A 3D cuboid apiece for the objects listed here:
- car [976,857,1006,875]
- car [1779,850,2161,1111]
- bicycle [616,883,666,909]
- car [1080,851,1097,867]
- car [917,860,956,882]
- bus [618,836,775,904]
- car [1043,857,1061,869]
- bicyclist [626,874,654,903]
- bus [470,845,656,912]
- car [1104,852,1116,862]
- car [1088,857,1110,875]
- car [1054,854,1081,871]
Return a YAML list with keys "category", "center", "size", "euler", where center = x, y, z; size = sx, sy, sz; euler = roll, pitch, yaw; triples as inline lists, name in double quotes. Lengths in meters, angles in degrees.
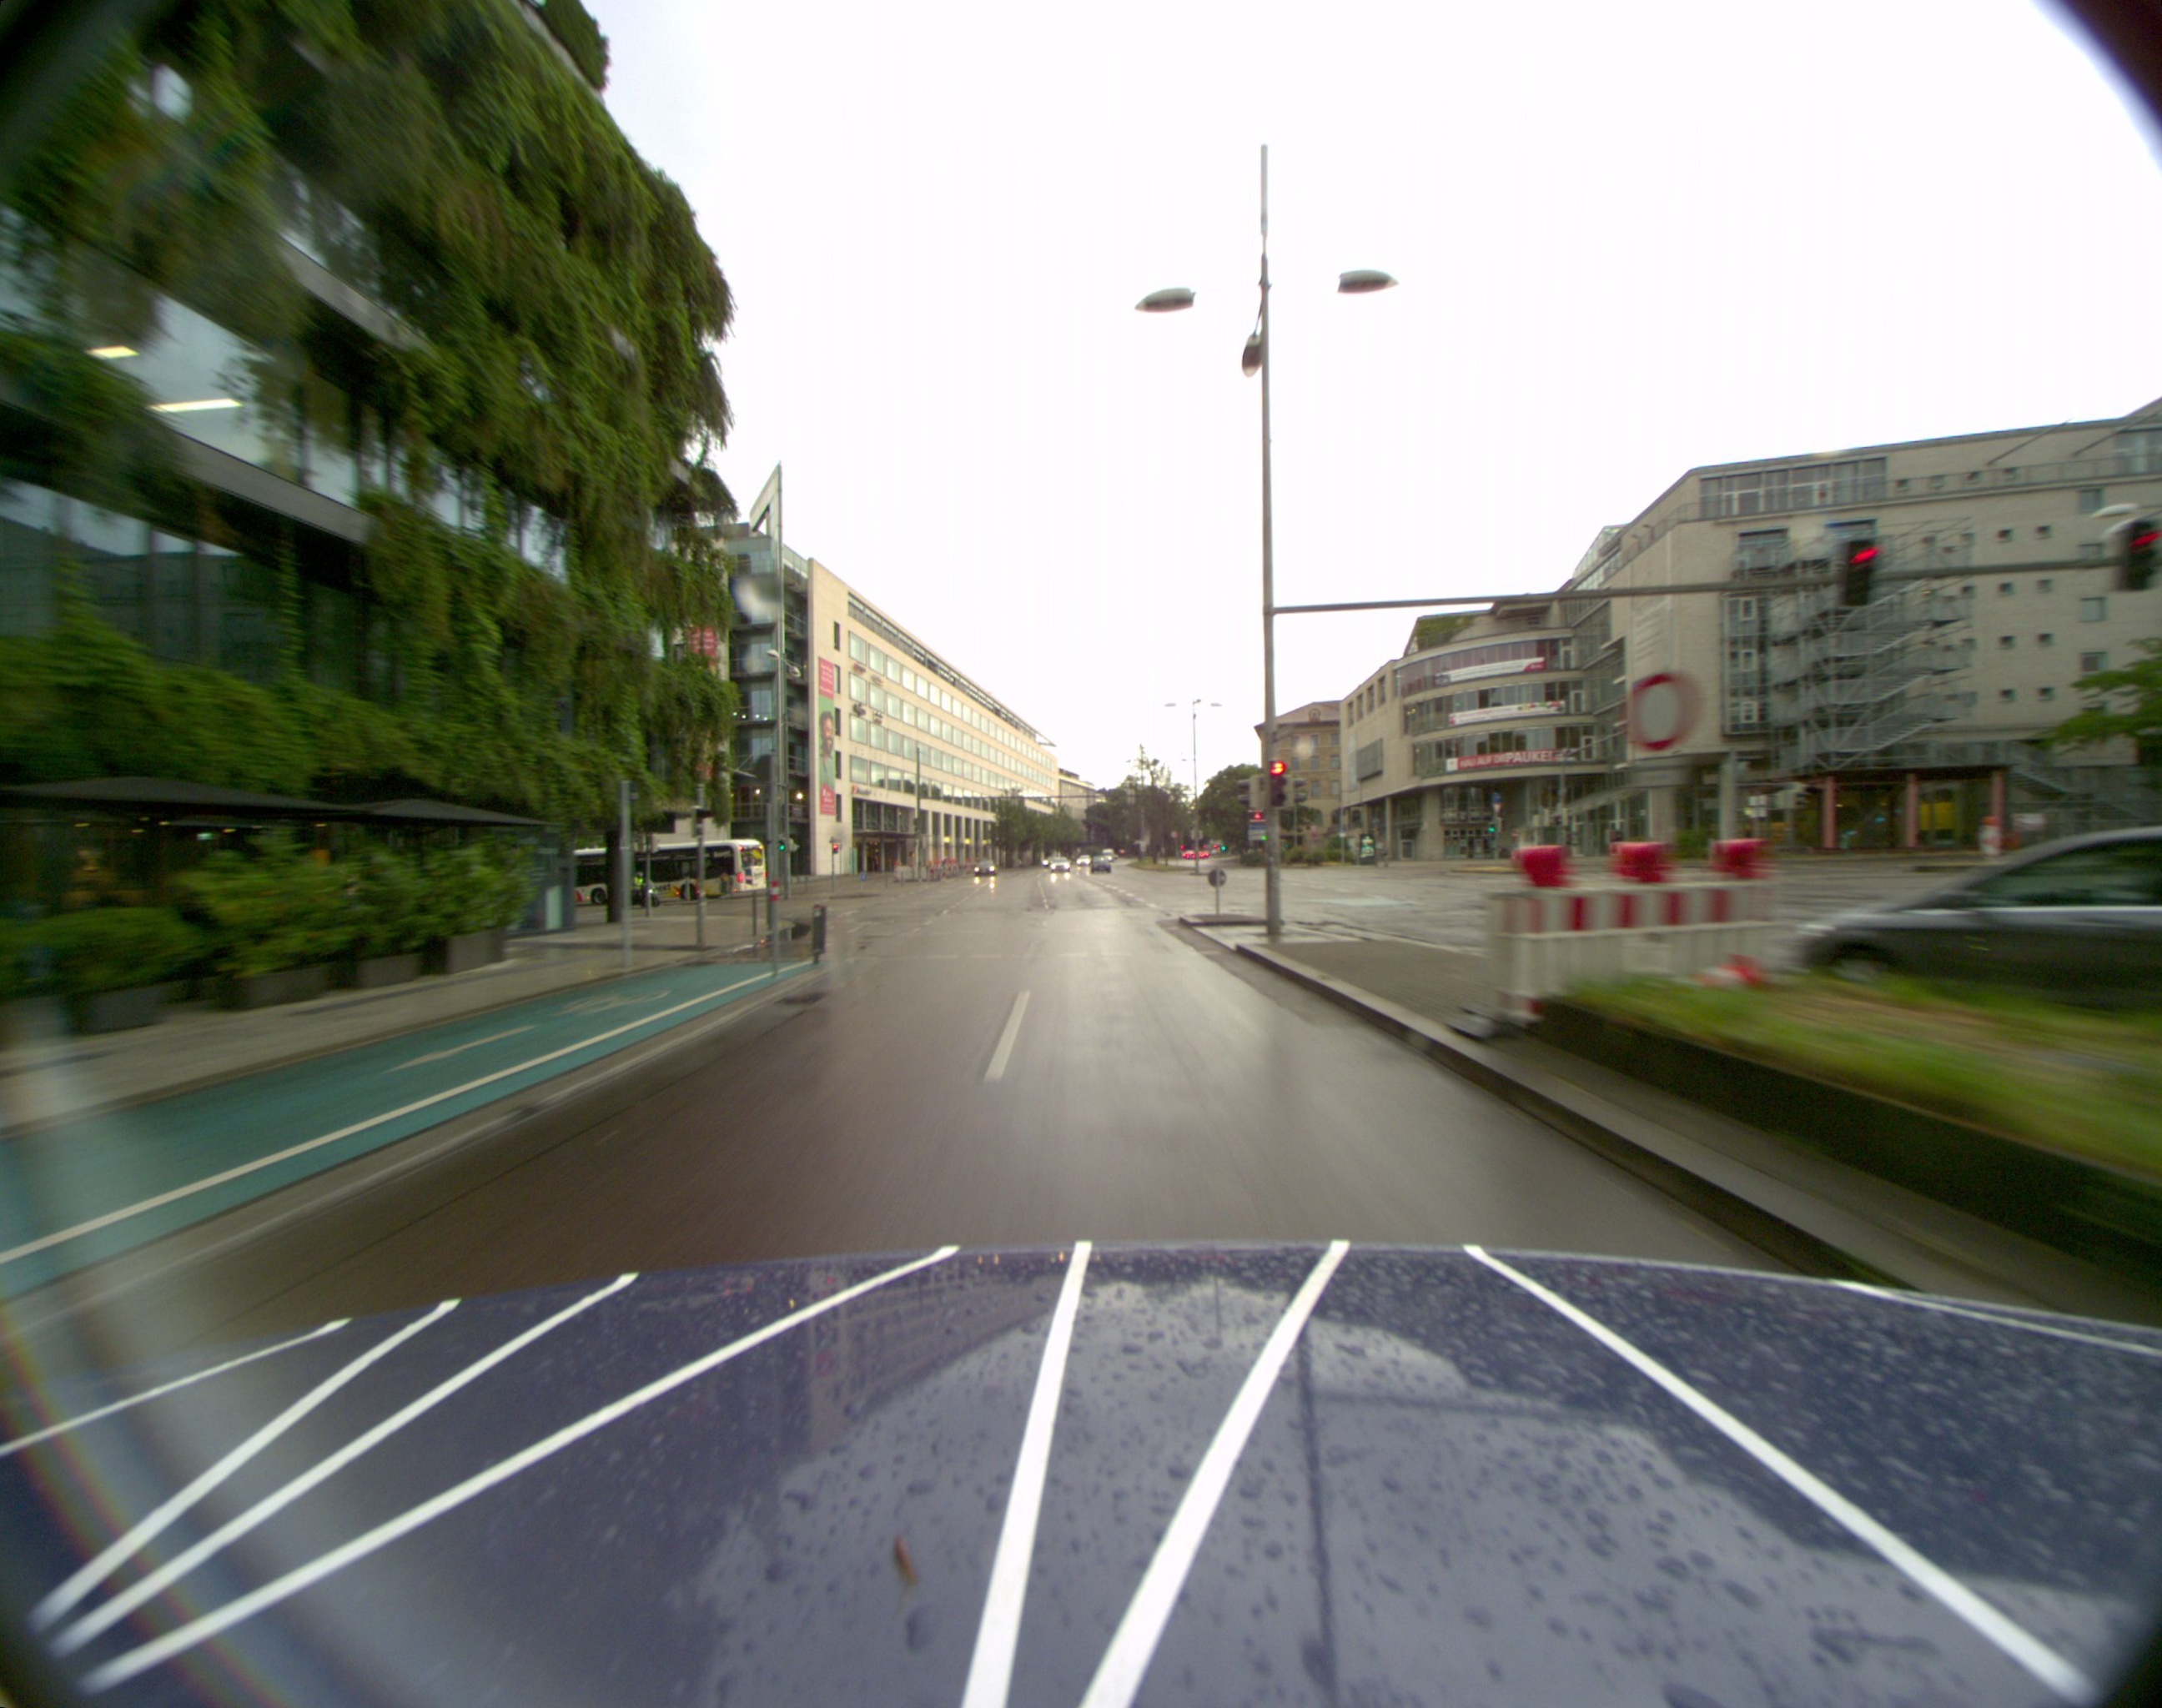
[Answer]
- category: "car"
  center: [-8.182, 1.080, 69.495]
  size: [1.738, 1.543, 4.672]
  euler: [-3, 0, 5]
- category: "car"
  center: [7.136, 0.721, 4.614]
  size: [1.848, 1.473, 4.163]
  euler: [-2, 0, -3]
- category: "bicycle"
  center: [-21.155, 2.015, 36.528]
  size: [2.086, 1.129, 0.810]
  euler: [-3, 0, 17]
- category: "car"
  center: [1.069, 0.724, 105.531]
  size: [1.978, 2.116, 5.107]
  euler: [-2, 0, 4]
- category: "car"
  center: [-11.360, 1.332, 60.217]
  size: [1.738, 1.543, 4.672]
  euler: [-1, 0, 6]
- category: "bus"
  center: [-22.463, 0.950, 44.521]
  size: [8.075, 3.567, 2.689]
  euler: [-2, 0, 11]
- category: "car"
  center: [-3.864, 1.216, 101.807]
  size: [1.738, 1.543, 4.672]
  euler: [-1, 0, 6]
- category: "bicyclist"
  center: [-21.226, 1.659, 36.568]
  size: [0.742, 1.328, 0.797]
  euler: [-3, 0, 16]
- category: "bus"
  center: [-31.419, 1.496, 46.155]
  size: [10.306, 3.567, 2.689]
  euler: [-2, 0, 10]
- category: "car"
  center: [5.820, 0.565, 152.212]
  size: [1.997, 2.002, 4.003]
  euler: [-2, 0, 9]
- category: "car"
  center: [1.527, 0.994, 65.334]
  size: [1.723, 1.424, 4.000]
  euler: [-2, 0, 1]
- category: "car"
  center: [-1.283, 0.805, 73.572]
  size: [1.978, 1.543, 4.672]
  euler: [-1, 0, 6]
